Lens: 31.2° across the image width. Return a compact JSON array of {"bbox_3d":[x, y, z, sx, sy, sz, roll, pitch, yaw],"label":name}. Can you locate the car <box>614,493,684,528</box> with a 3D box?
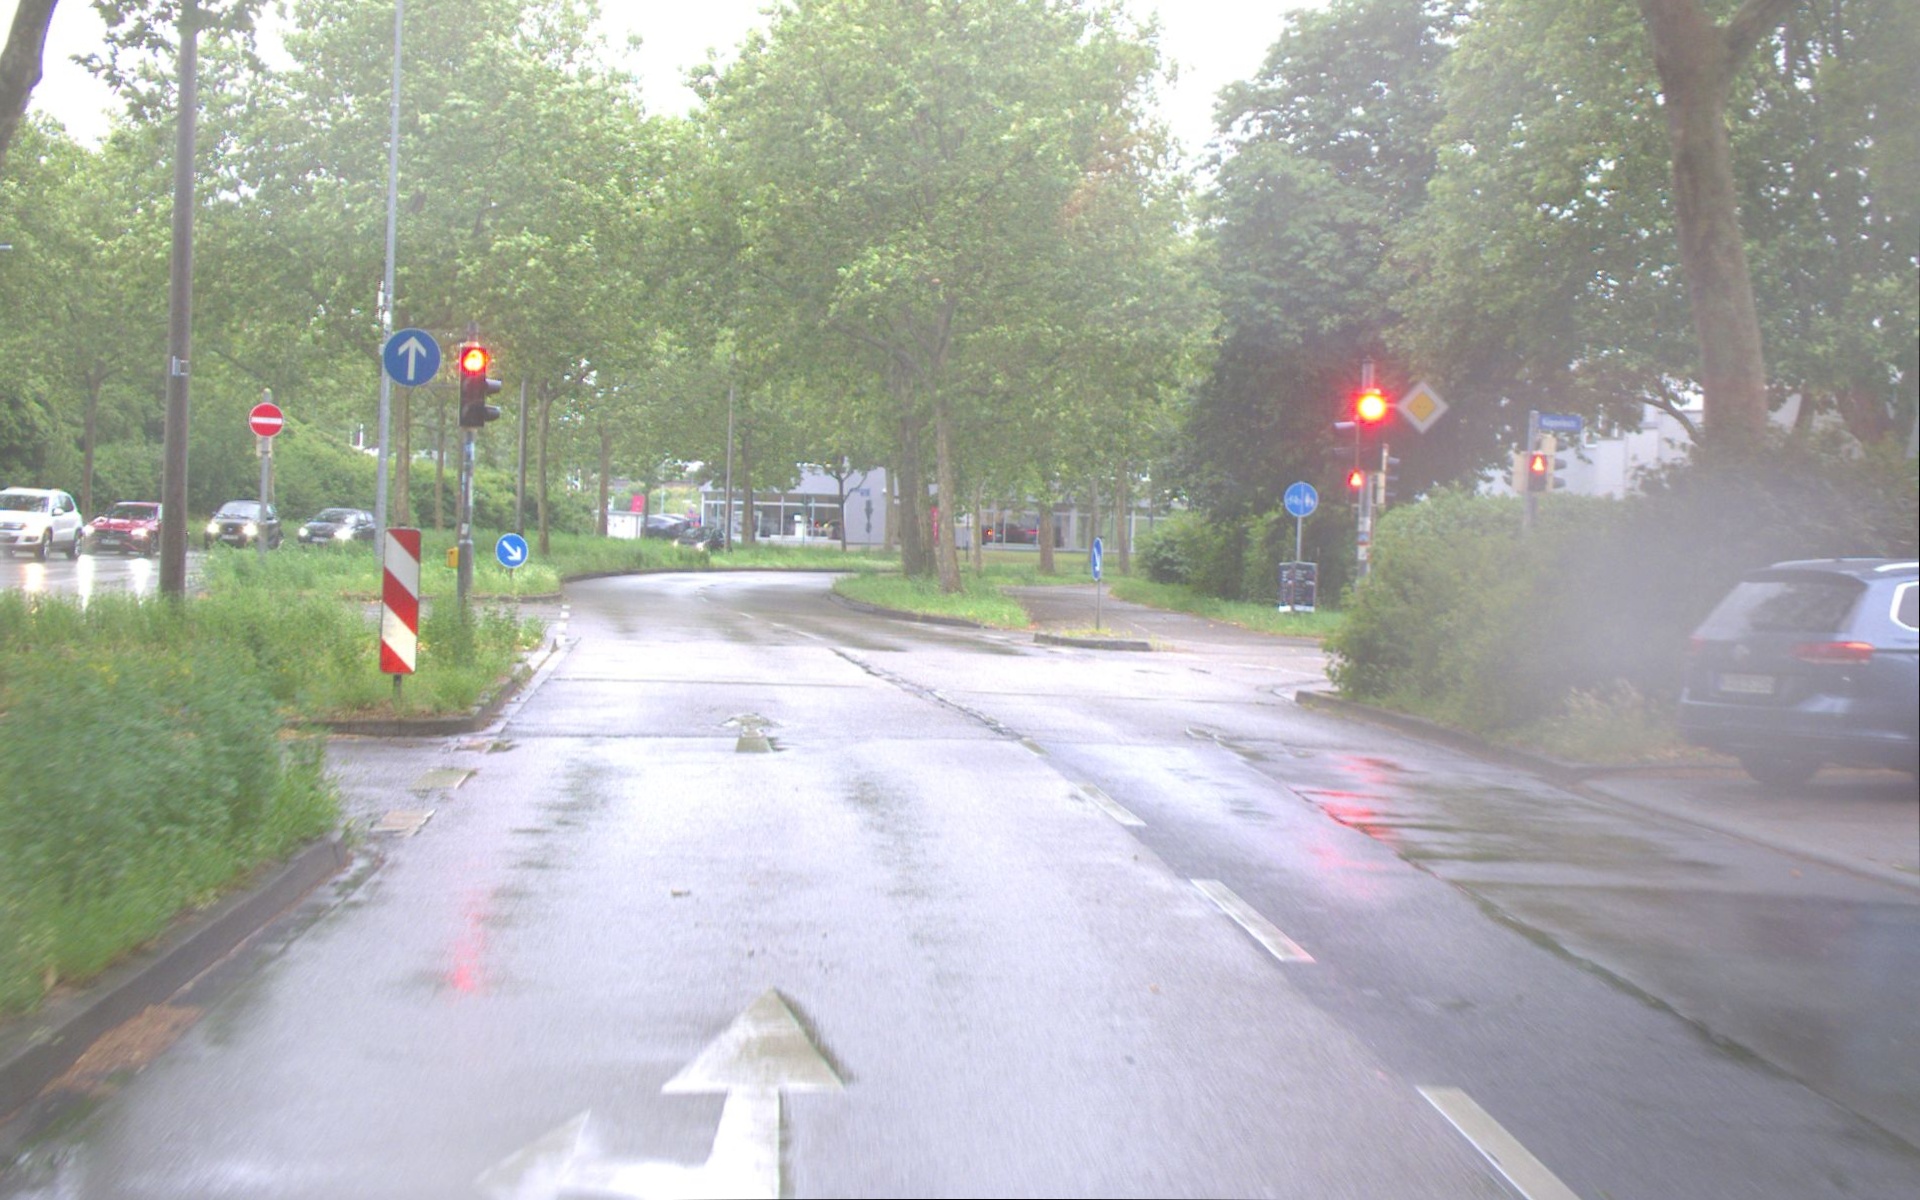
[{"bbox_3d":[-19.340,-5.579,213.748,3.986,2.007,2.001,1,0,-13],"label":"car"}]

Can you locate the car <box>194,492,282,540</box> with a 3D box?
[{"bbox_3d":[-21.337,-2.478,101.673,1.587,1.368,3.333,1,1,6],"label":"car"}]

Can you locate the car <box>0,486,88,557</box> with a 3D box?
[{"bbox_3d":[-22.088,-1.880,81.910,1.743,1.626,4.445,1,1,-4],"label":"car"}]

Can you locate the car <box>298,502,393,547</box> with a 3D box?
[{"bbox_3d":[-19.709,-2.421,110.432,1.588,1.368,4.260,1,1,10],"label":"car"}]

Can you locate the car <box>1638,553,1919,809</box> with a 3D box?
[{"bbox_3d":[6.653,0.474,21.745,4.481,1.454,1.749,0,2,-27],"label":"car"}]

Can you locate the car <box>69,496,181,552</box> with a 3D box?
[{"bbox_3d":[-22.132,-2.021,91.258,1.743,1.403,4.444,1,1,2],"label":"car"}]

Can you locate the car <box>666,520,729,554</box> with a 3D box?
[{"bbox_3d":[-11.084,-2.673,145.498,1.588,1.368,4.260,1,1,10],"label":"car"}]
